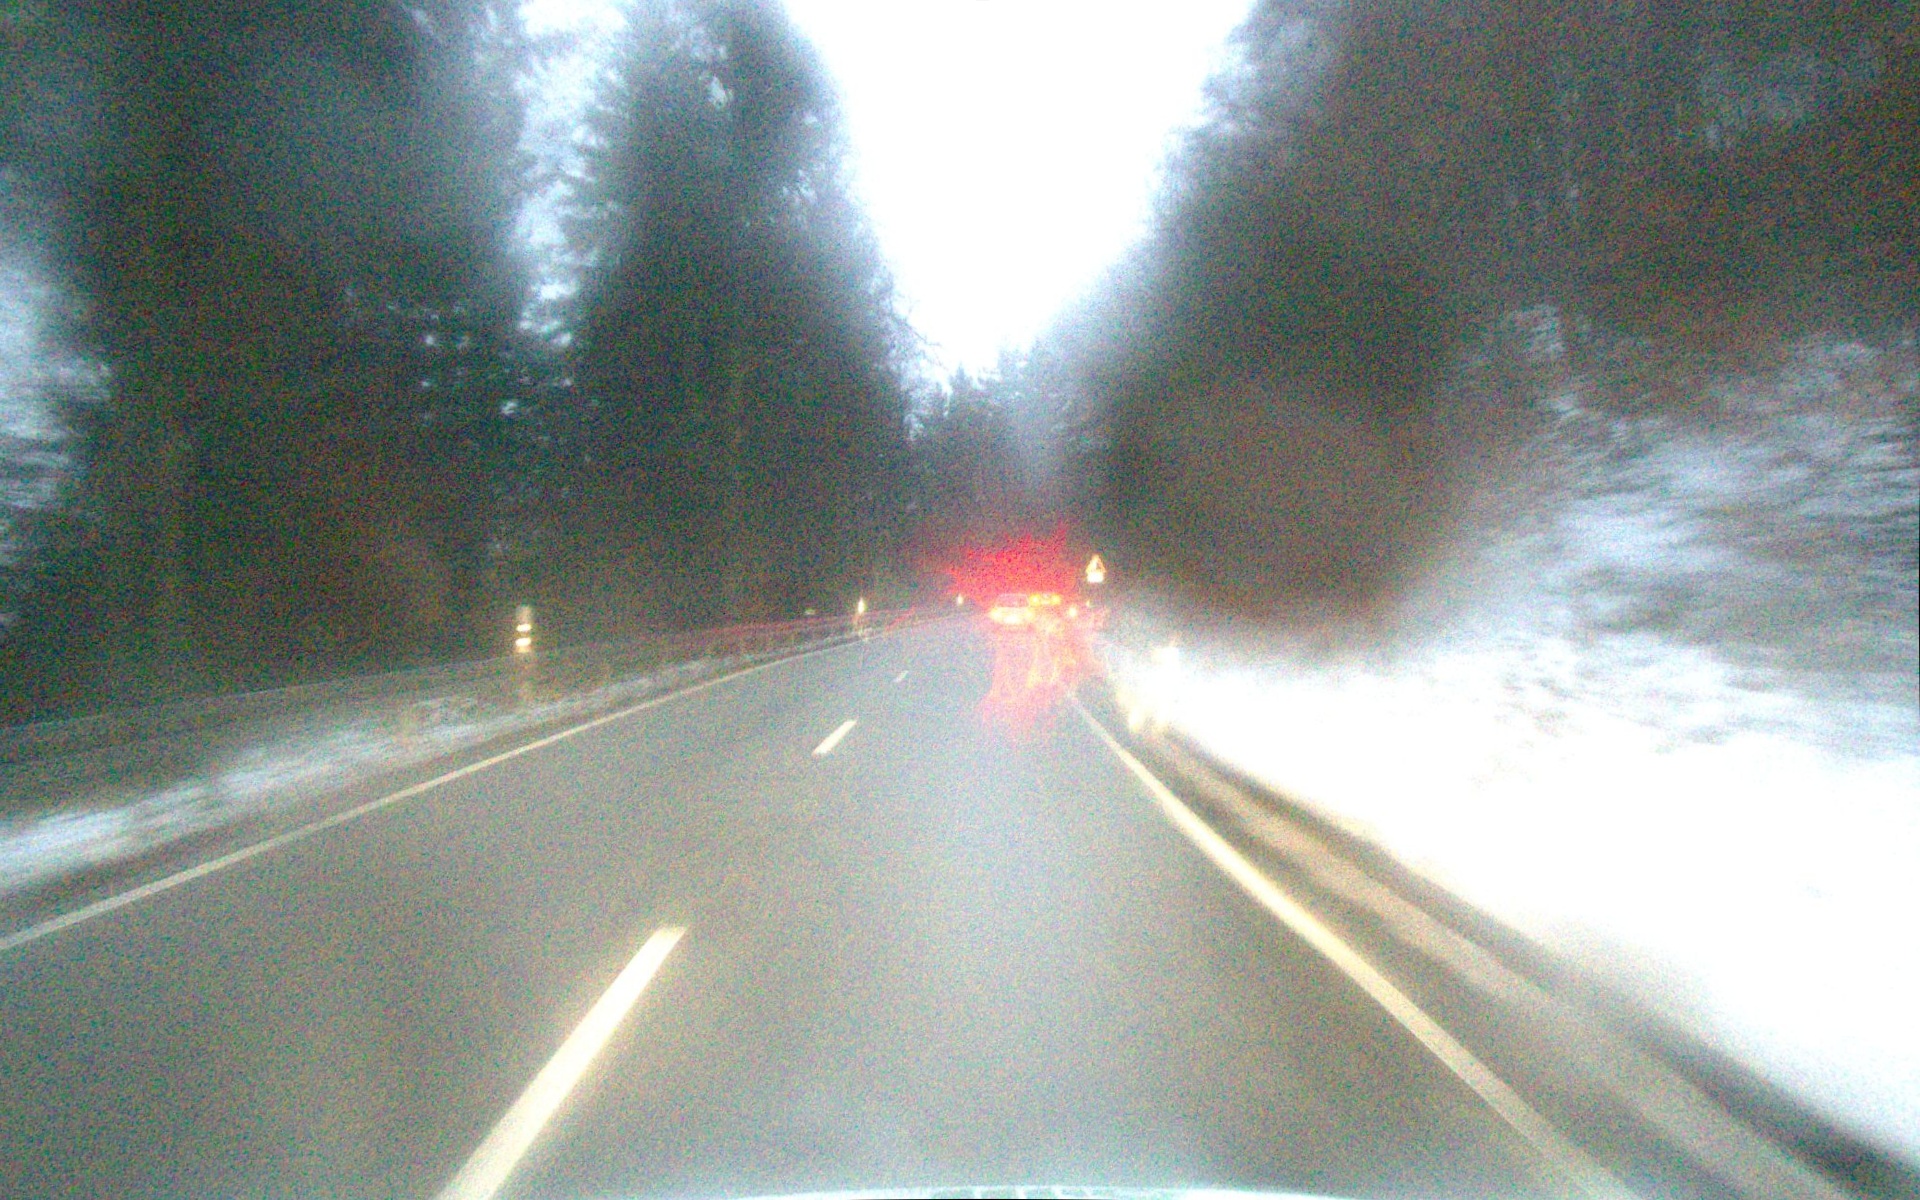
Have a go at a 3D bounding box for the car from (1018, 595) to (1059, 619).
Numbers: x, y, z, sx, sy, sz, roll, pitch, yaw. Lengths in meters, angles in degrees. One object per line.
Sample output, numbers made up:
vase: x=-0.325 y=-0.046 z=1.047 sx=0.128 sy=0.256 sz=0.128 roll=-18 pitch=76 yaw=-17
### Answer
car: x=4.767 y=0.418 z=100.838 sx=1.955 sy=1.333 sz=3.996 roll=-3 pitch=0 yaw=-5

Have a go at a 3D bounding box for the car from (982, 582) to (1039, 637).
car: x=1.959 y=0.331 z=63.157 sx=1.952 sy=1.905 sz=4.002 roll=-3 pitch=0 yaw=4
